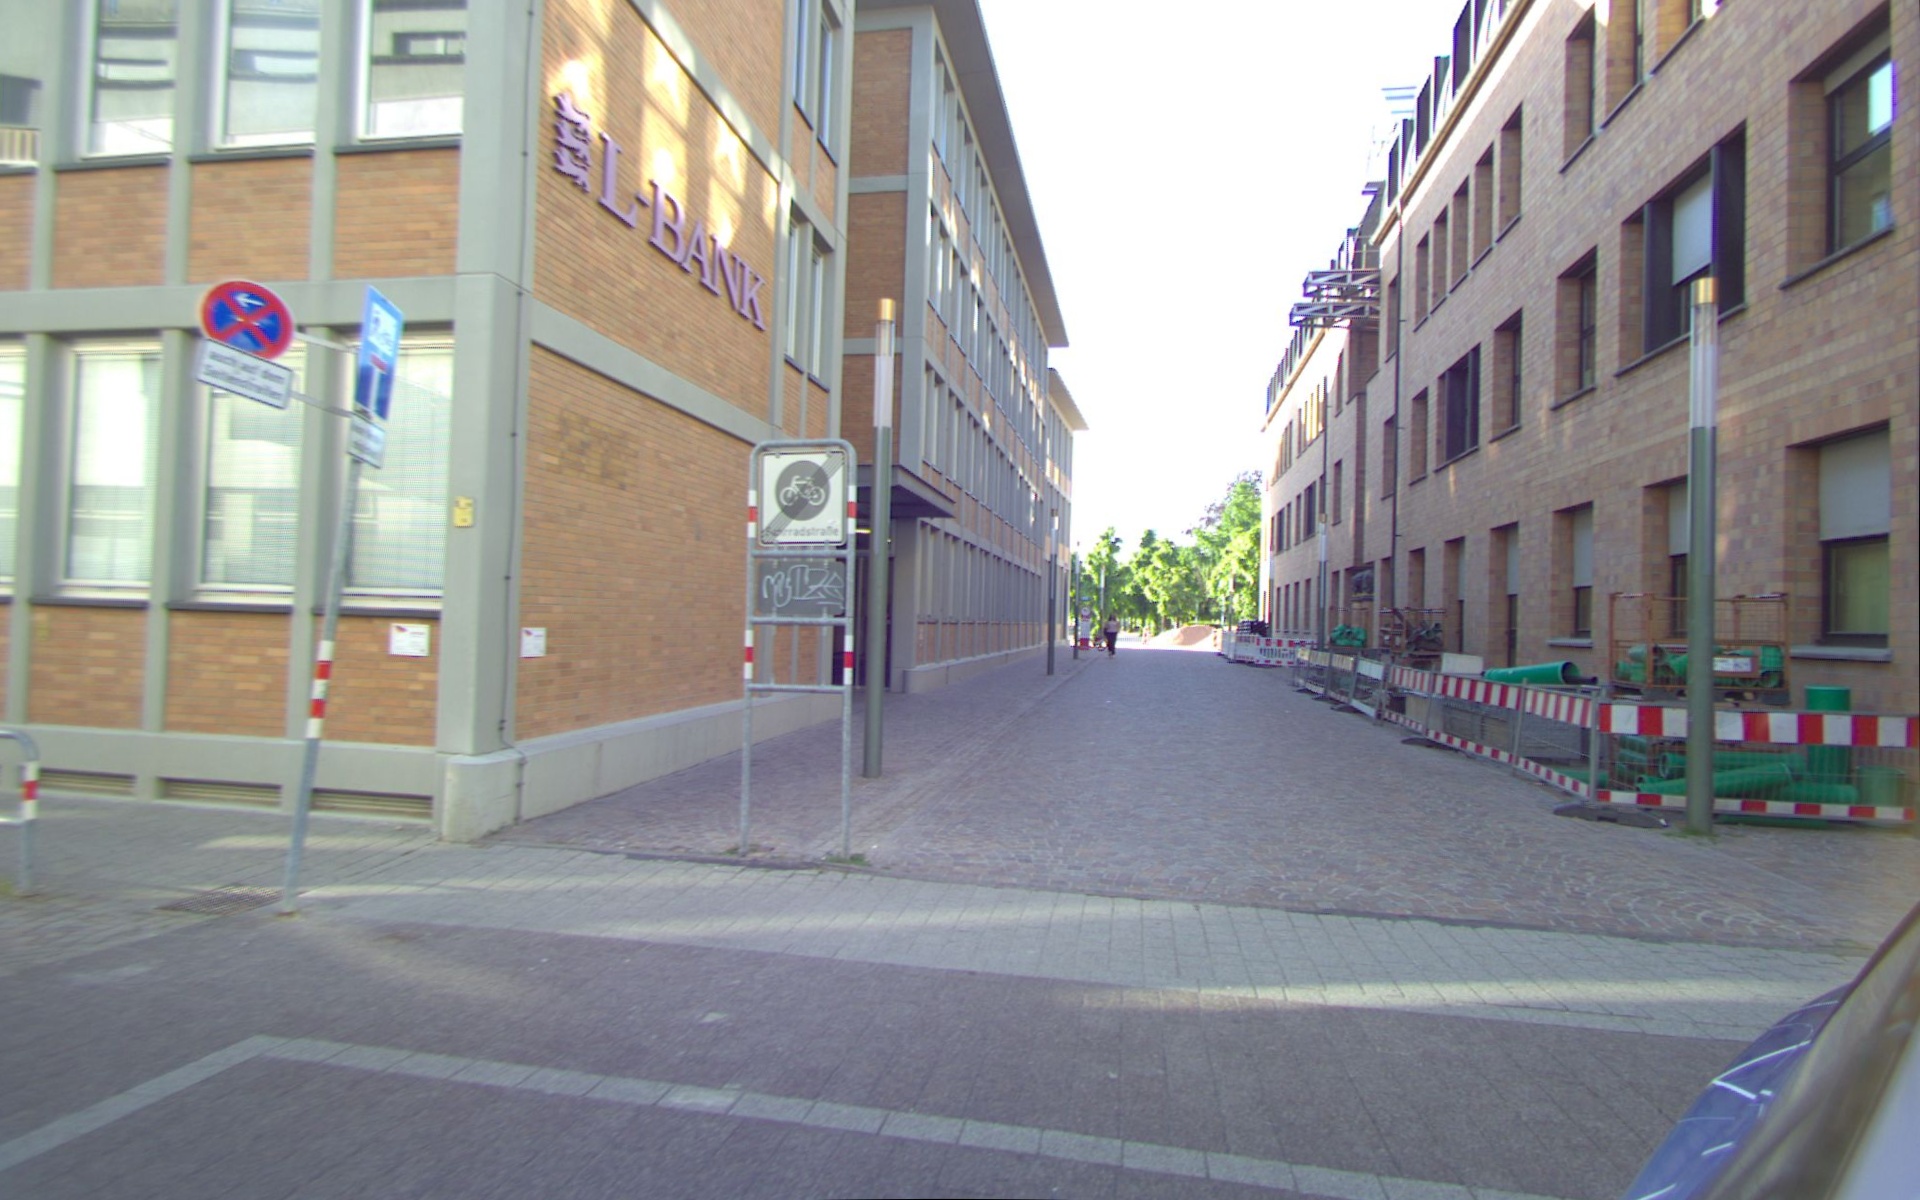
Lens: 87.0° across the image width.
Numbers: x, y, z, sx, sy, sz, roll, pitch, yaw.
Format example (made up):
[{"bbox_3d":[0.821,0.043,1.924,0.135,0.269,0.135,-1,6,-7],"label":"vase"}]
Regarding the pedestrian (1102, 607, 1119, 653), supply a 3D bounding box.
[{"bbox_3d":[5.954,1.187,39.949,0.628,1.809,0.650,1,-4,10],"label":"pedestrian"}]
